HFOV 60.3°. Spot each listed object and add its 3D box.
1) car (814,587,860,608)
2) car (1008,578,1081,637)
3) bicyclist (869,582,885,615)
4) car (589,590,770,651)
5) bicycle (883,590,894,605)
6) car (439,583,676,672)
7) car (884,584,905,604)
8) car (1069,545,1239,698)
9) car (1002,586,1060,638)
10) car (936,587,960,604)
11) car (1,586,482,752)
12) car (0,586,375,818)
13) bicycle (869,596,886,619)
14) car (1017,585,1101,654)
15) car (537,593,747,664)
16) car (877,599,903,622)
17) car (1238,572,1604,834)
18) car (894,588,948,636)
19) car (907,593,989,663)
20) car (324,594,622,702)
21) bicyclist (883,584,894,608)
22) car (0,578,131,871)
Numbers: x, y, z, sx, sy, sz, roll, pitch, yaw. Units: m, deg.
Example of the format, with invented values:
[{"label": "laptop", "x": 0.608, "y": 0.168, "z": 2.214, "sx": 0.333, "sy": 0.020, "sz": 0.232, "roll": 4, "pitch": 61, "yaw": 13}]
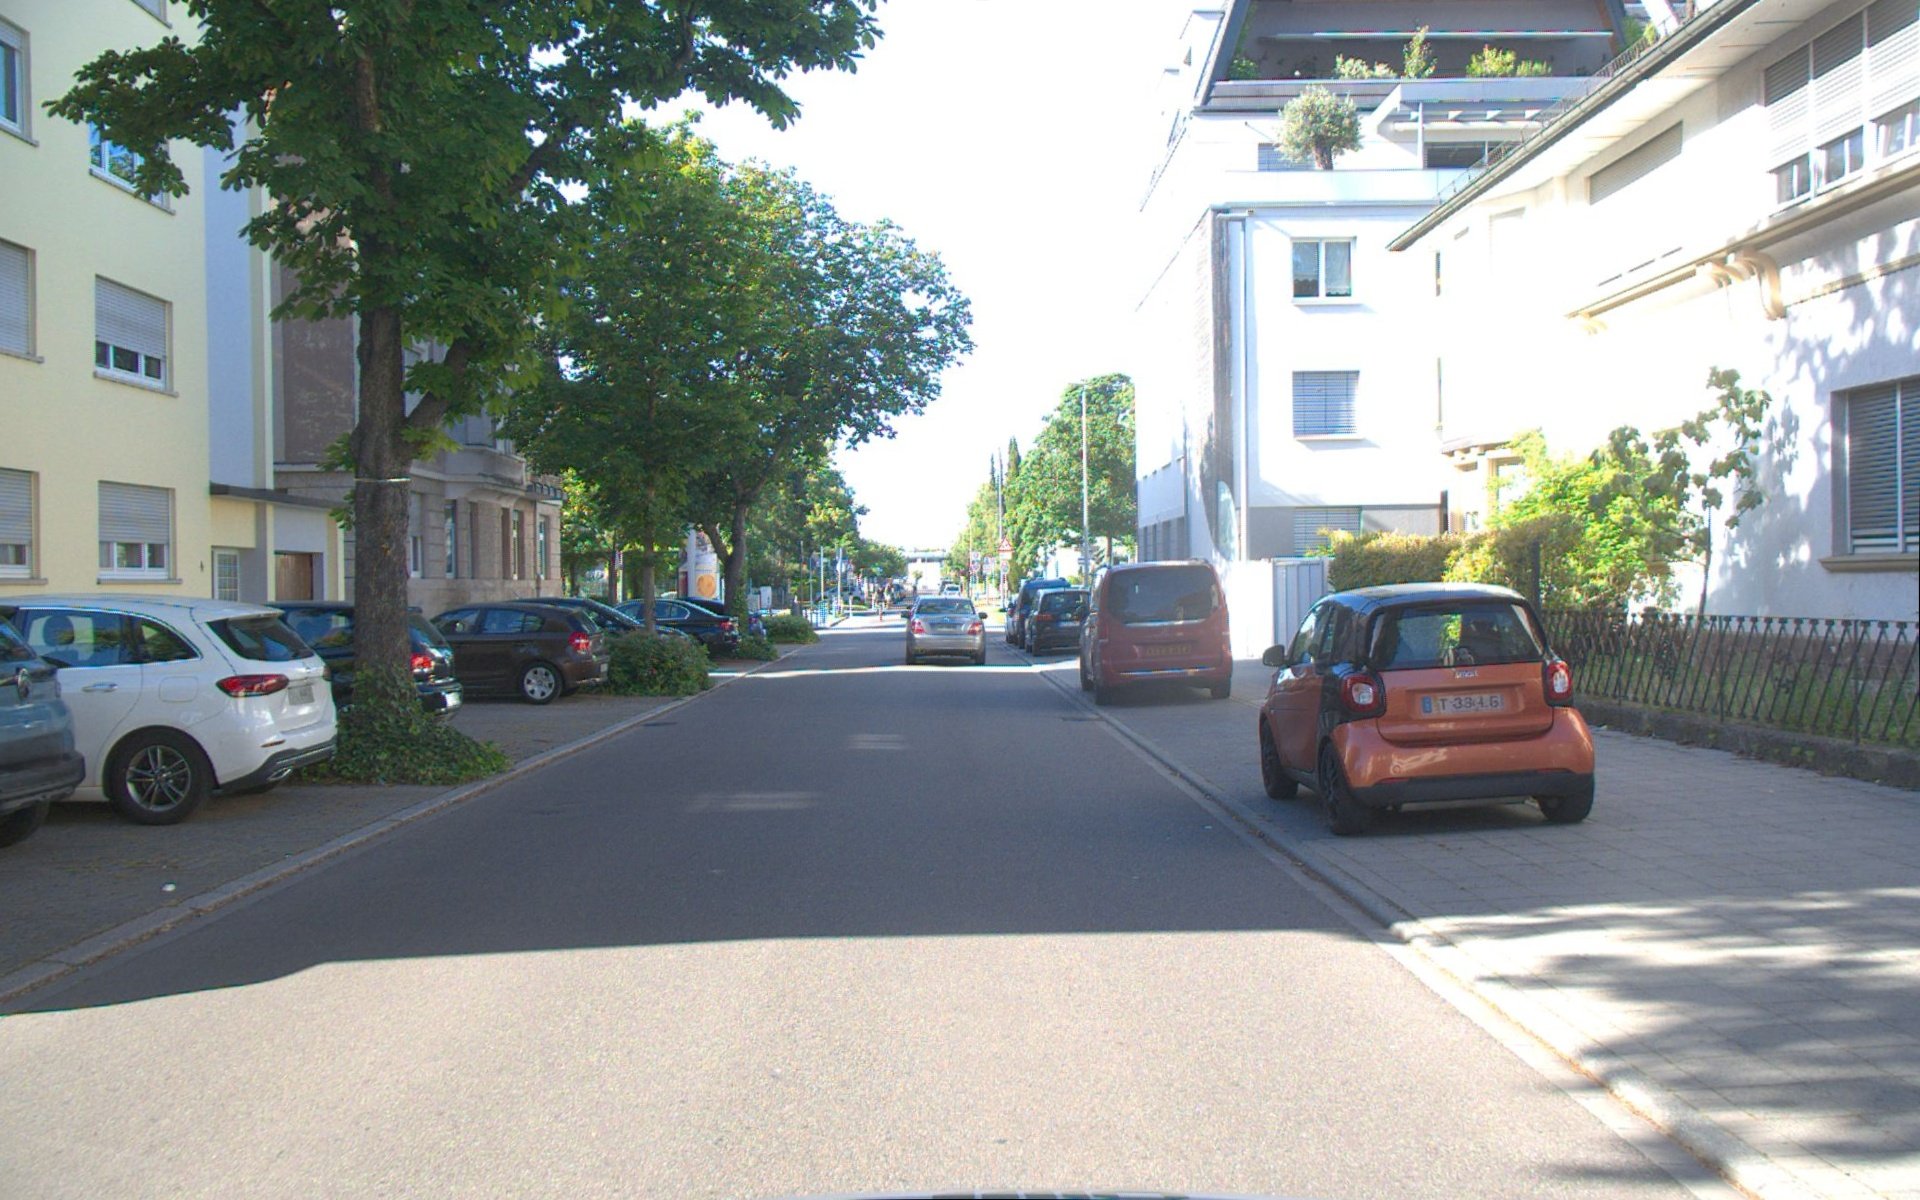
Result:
[{"label": "car", "x": -9.489, "y": -0.181, "z": 127.729, "sx": 3.428, "sy": 1.560, "sz": 1.642, "roll": -1, "pitch": 0, "yaw": -8}, {"label": "car", "x": 2.338, "y": 0.230, "z": 46.575, "sx": 1.648, "sy": 1.460, "sz": 4.264, "roll": -5, "pitch": -1, "yaw": -1}, {"label": "bicyclist", "x": -4.052, "y": -0.089, "z": 80.617, "sx": 0.706, "sy": 1.563, "sz": 1.137, "roll": -1, "pitch": 0, "yaw": -1}, {"label": "car", "x": -7.163, "y": 0.532, "z": 42.607, "sx": 4.384, "sy": 1.505, "sz": 1.867, "roll": 0, "pitch": -1, "yaw": -3}, {"label": "bicycle", "x": -4.624, "y": -0.179, "z": 107.078, "sx": 0.577, "sy": 0.948, "sz": 1.850, "roll": -1, "pitch": 1, "yaw": 0}, {"label": "car", "x": -7.473, "y": 0.512, "z": 31.086, "sx": 4.094, "sy": 1.526, "sz": 1.996, "roll": 1, "pitch": -1, "yaw": -8}, {"label": "car", "x": -6.177, "y": -0.564, "z": 156.460, "sx": 1.752, "sy": 1.559, "sz": 3.995, "roll": -3, "pitch": -2, "yaw": -5}, {"label": "car", "x": 2.707, "y": 0.294, "z": 24.214, "sx": 1.833, "sy": 1.938, "sz": 5.197, "roll": -2, "pitch": 0, "yaw": 0}, {"label": "car", "x": 2.167, "y": 0.378, "z": 51.132, "sx": 1.532, "sy": 1.435, "sz": 3.729, "roll": -5, "pitch": -1, "yaw": 0}, {"label": "car", "x": -1.002, "y": -0.347, "z": 135.741, "sx": 1.689, "sy": 1.353, "sz": 3.995, "roll": -1, "pitch": 0, "yaw": -5}, {"label": "car", "x": -6.912, "y": 0.660, "z": 16.298, "sx": 3.946, "sy": 1.469, "sz": 1.797, "roll": 1, "pitch": -1, "yaw": -7}, {"label": "car", "x": -6.573, "y": 0.672, "z": 12.056, "sx": 3.941, "sy": 1.510, "sz": 1.806, "roll": 1, "pitch": 0, "yaw": -2}, {"label": "bicycle", "x": -4.019, "y": 0.351, "z": 80.621, "sx": 0.705, "sy": 1.098, "sz": 1.890, "roll": -1, "pitch": 0, "yaw": -1}, {"label": "car", "x": 2.394, "y": 0.467, "z": 40.841, "sx": 1.702, "sy": 1.558, "sz": 4.177, "roll": -2, "pitch": 0, "yaw": -1}, {"label": "car", "x": -7.083, "y": 0.637, "z": 37.182, "sx": 4.384, "sy": 1.505, "sz": 1.867, "roll": 0, "pitch": -1, "yaw": -3}, {"label": "car", "x": -5.653, "y": 0.808, "z": 133.390, "sx": 1.836, "sy": 1.758, "sz": 3.995, "roll": -1, "pitch": 1, "yaw": -6}, {"label": "car", "x": 3.070, "y": 0.612, "z": 11.650, "sx": 1.560, "sy": 1.506, "sz": 3.246, "roll": -3, "pitch": 0, "yaw": -1}, {"label": "car", "x": -1.291, "y": 0.403, "z": 54.751, "sx": 1.672, "sy": 1.473, "sz": 4.201, "roll": 1, "pitch": -1, "yaw": -2}, {"label": "car", "x": -0.250, "y": 0.609, "z": 36.764, "sx": 1.691, "sy": 1.445, "sz": 3.960, "roll": 1, "pitch": -1, "yaw": 0}, {"label": "car", "x": -7.135, "y": 0.685, "z": 24.515, "sx": 3.907, "sy": 1.446, "sz": 1.770, "roll": 1, "pitch": 1, "yaw": -2}, {"label": "bicyclist", "x": -4.649, "y": -0.276, "z": 107.091, "sx": 0.666, "sy": 1.535, "sz": 0.655, "roll": -1, "pitch": 0, "yaw": 0}, {"label": "car", "x": -6.958, "y": 0.659, "z": 9.527, "sx": 3.442, "sy": 1.603, "sz": 1.771, "roll": 1, "pitch": 0, "yaw": 2}]
